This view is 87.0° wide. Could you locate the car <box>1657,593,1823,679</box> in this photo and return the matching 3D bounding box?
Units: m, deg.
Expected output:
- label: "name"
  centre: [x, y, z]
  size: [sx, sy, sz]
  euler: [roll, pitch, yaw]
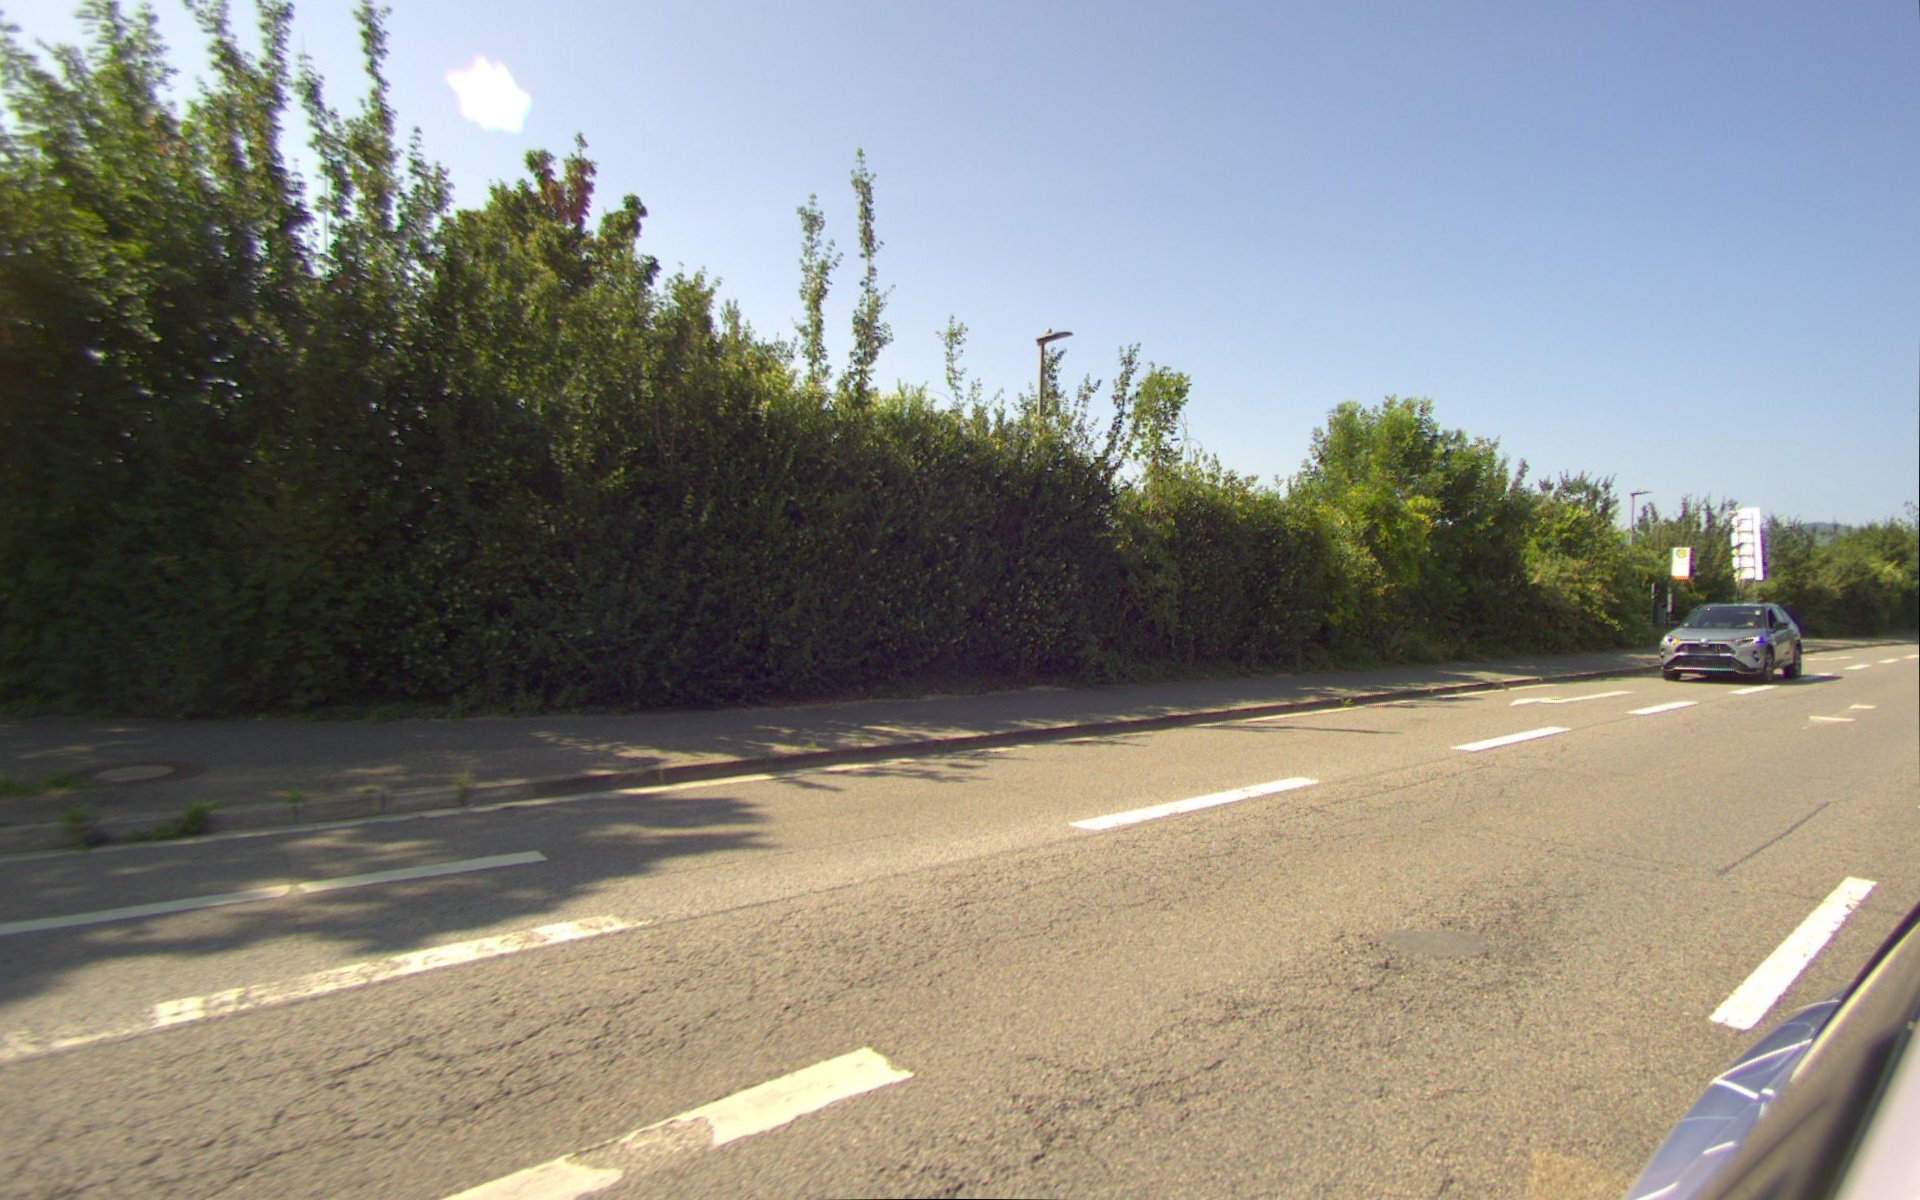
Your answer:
- label: "car"
  centre: [17.115, 0.732, 22.132]
  size: [4.599, 1.701, 1.906]
  euler: [1, 0, -40]
